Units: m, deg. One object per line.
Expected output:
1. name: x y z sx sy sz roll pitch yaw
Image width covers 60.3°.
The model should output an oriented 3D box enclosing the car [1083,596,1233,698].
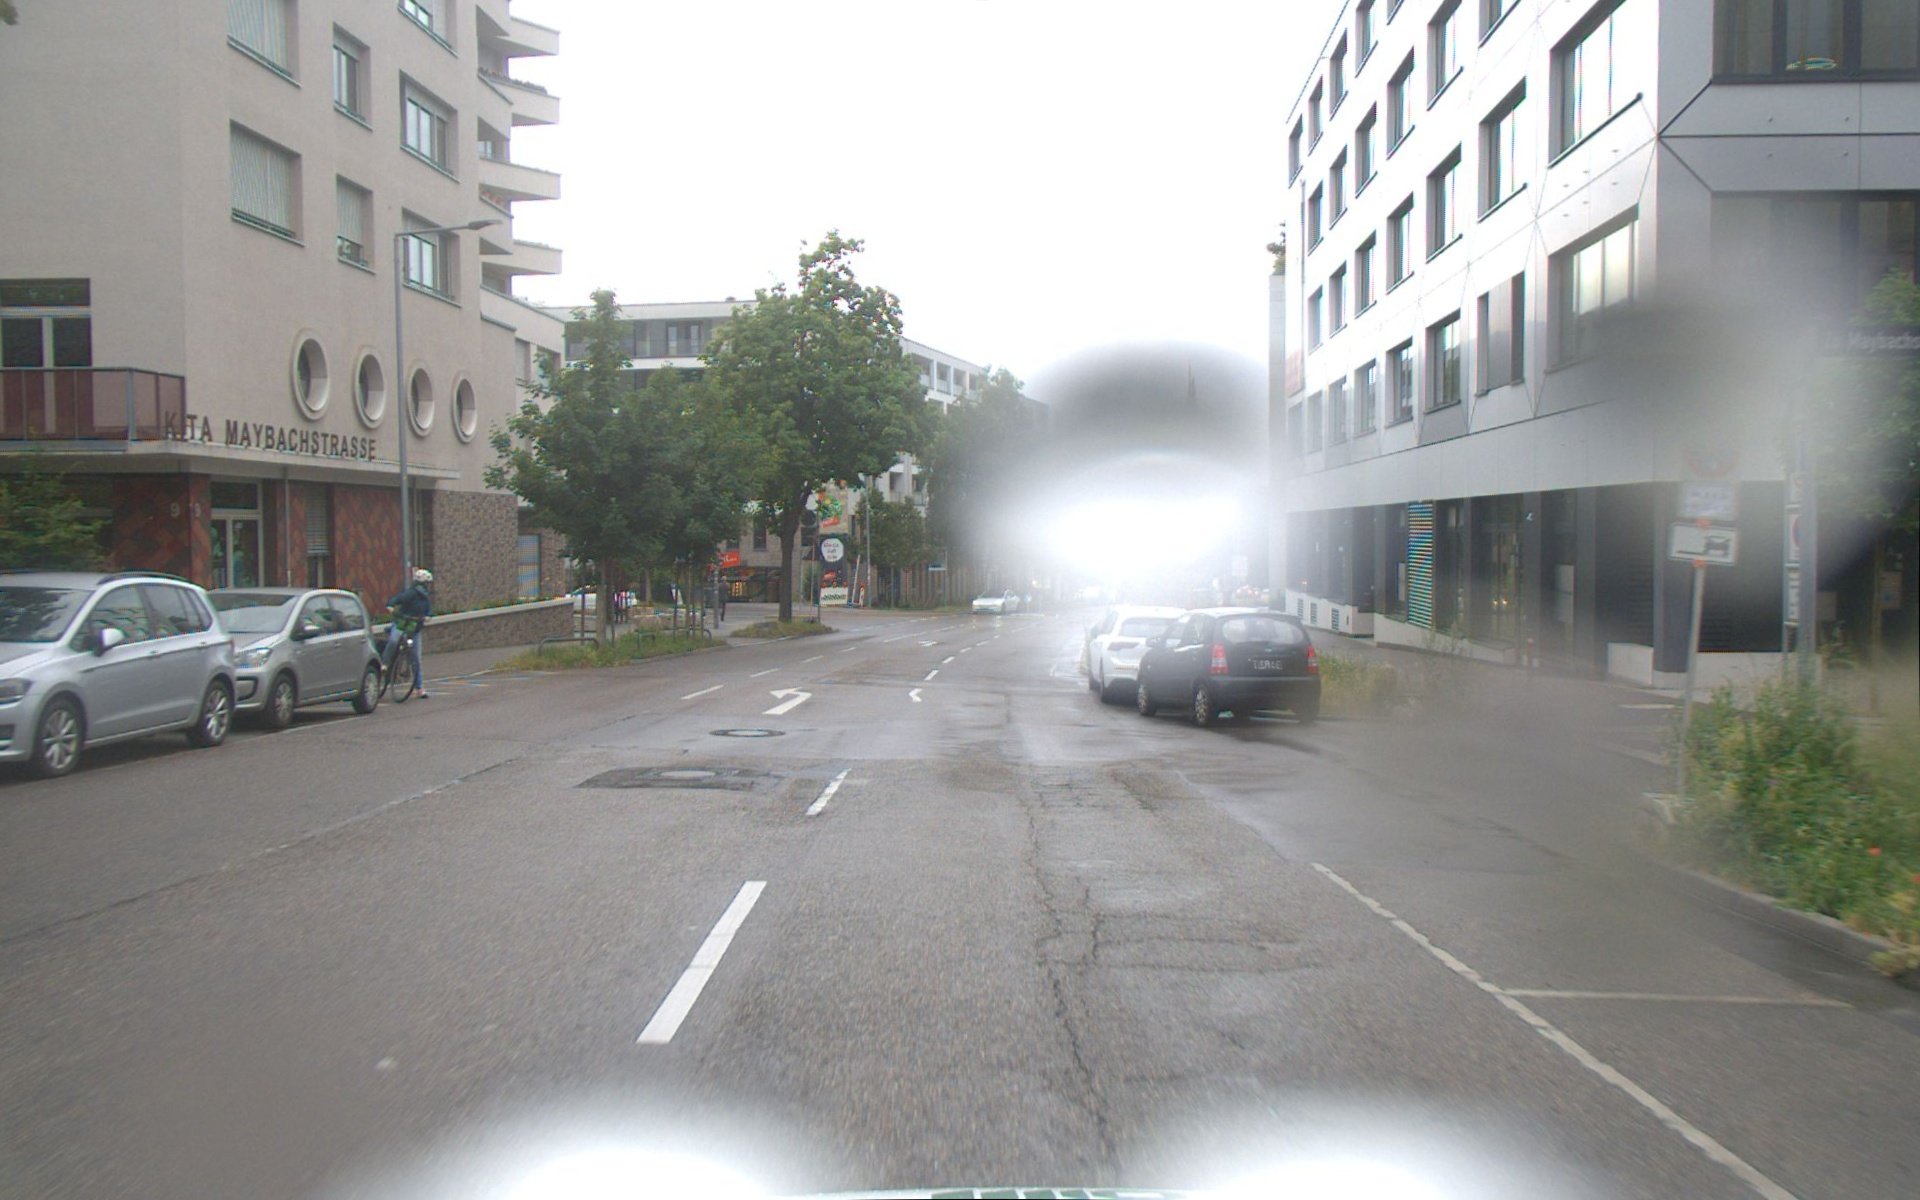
1. car: 3.191 0.715 27.525 1.997 1.490 4.503 1 0 1

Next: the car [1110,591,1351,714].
1. car: 3.577 0.659 22.695 2.007 1.483 4.045 1 0 -10

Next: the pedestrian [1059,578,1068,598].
1. pedestrian: 9.295 -1.088 147.932 0.693 1.712 0.957 1 1 10

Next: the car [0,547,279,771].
1. car: -7.807 0.415 14.235 1.949 1.621 4.490 1 0 1

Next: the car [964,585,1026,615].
1. car: 2.074 0.015 96.682 2.015 1.690 4.820 1 0 22

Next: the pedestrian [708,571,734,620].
1. pedestrian: -10.142 -0.190 70.162 1.035 2.049 1.098 1 0 -7

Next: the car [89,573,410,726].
1. car: -7.789 0.503 18.559 1.840 1.488 3.848 1 0 1

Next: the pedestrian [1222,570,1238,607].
1. pedestrian: 13.434 -0.562 82.292 0.805 1.827 1.209 0 -1 8

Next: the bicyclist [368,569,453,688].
1. bicyclist: -7.417 0.381 22.380 0.785 1.549 1.200 1 0 -5

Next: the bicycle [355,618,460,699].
1. bicycle: -7.403 0.756 22.277 0.786 0.996 2.253 1 0 -4

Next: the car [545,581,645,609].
1. car: -18.685 -0.238 84.882 4.589 1.315 2.001 1 0 4
